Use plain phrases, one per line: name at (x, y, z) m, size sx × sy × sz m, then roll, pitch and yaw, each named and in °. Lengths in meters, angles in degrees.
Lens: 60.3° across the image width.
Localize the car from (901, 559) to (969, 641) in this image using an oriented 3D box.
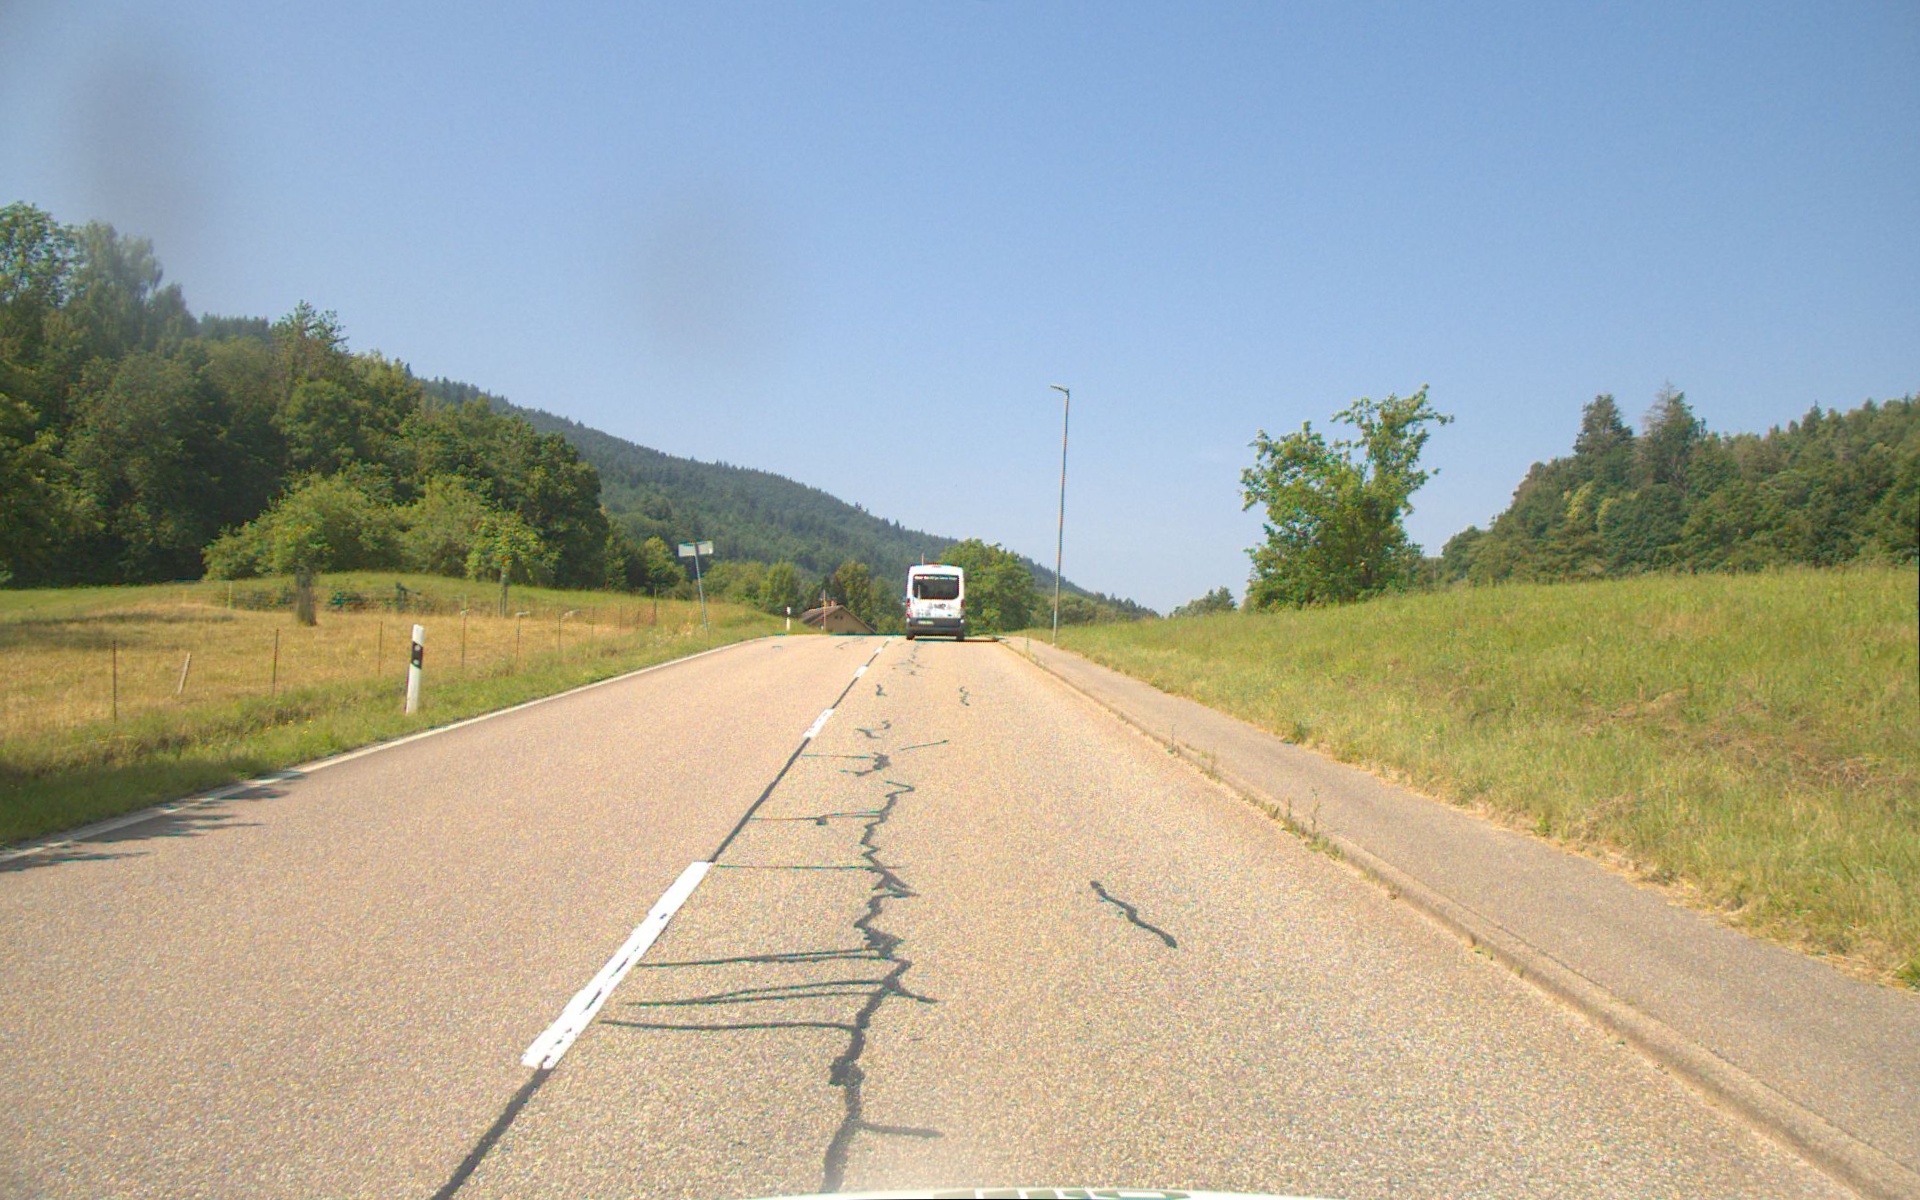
car at (-0.871, 0.054, 56.686) m, size 2.177 × 2.570 × 4.982 m, roll -1°, pitch -2°, yaw -1°
